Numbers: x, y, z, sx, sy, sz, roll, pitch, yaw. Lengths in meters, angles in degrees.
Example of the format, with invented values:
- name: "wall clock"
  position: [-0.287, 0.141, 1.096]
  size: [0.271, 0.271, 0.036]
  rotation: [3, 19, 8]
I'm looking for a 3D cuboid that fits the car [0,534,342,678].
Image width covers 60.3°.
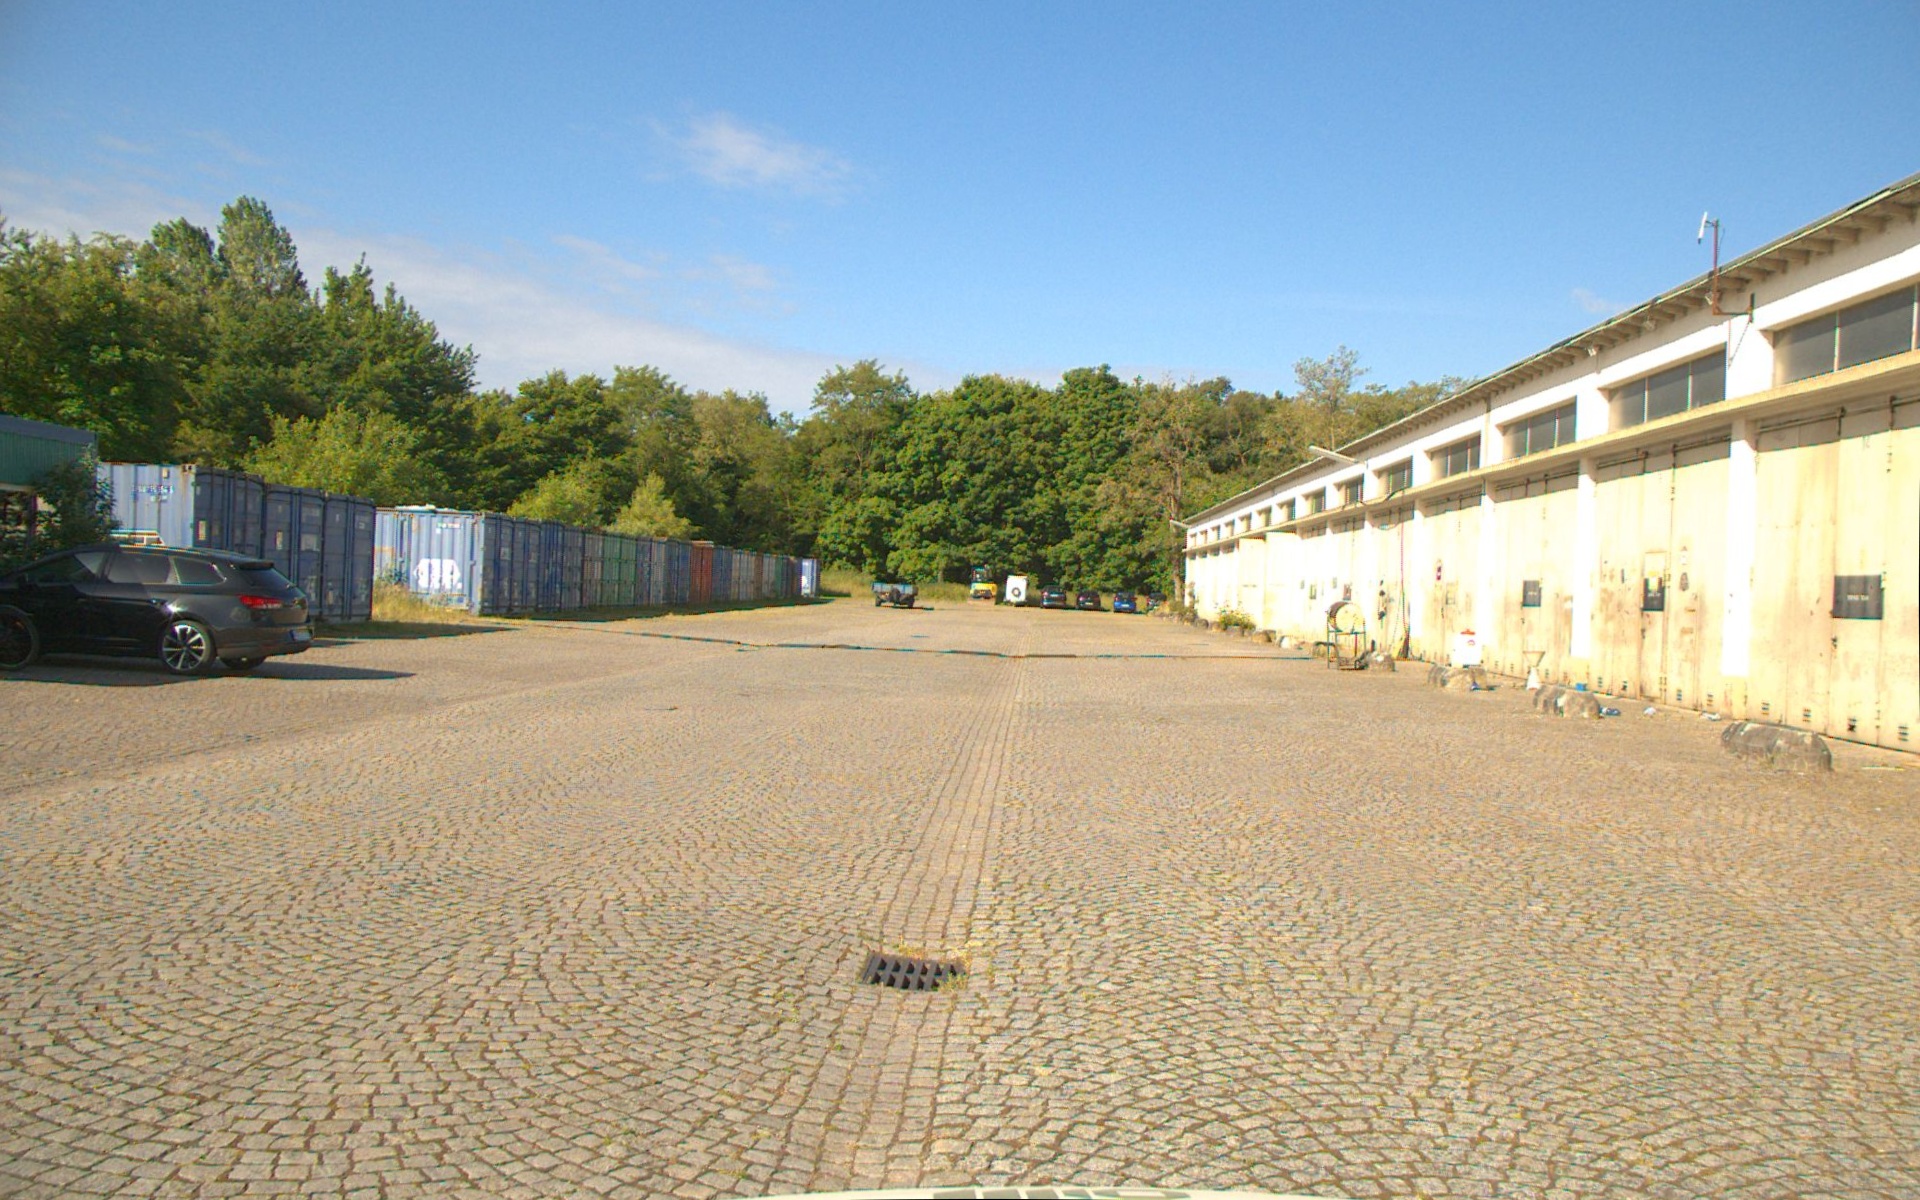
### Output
- name: "car"
  position: [-9.707, 0.041, 19.692]
  size: [3.969, 1.437, 1.730]
  rotation: [4, 0, -3]

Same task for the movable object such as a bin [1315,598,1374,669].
- name: "movable object such as a bin"
  position: [7.736, 0.659, 33.332]
  size: [0.807, 1.355, 1.280]
  rotation: [2, 0, -2]

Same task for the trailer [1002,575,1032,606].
- name: "trailer"
  position: [4.126, -0.687, 118.706]
  size: [1.756, 2.126, 3.974]
  rotation: [2, 0, 7]

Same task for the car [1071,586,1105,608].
- name: "car"
  position: [9.065, -0.203, 116.987]
  size: [1.951, 1.488, 4.003]
  rotation: [2, 0, 9]

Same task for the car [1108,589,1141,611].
- name: "car"
  position: [11.636, -0.028, 116.876]
  size: [1.951, 1.445, 4.003]
  rotation: [2, 0, 9]

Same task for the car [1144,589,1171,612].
- name: "car"
  position: [14.112, 0.021, 118.125]
  size: [1.649, 1.591, 4.003]
  rotation: [2, 0, 9]

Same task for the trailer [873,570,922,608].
- name: "trailer"
  position: [-3.739, -0.666, 99.887]
  size: [2.357, 2.048, 4.176]
  rotation: [4, 1, 5]

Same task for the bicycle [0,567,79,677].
- name: "bicycle"
  position: [-10.632, 0.200, 17.990]
  size: [1.673, 1.120, 0.674]
  rotation: [4, 0, 2]

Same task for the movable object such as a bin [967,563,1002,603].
- name: "movable object such as a bin"
  position: [1.811, -1.200, 119.083]
  size: [1.952, 2.663, 4.003]
  rotation: [4, 1, 7]

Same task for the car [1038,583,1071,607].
- name: "car"
  position: [6.703, -0.337, 116.896]
  size: [1.822, 1.613, 4.003]
  rotation: [2, 0, 9]
